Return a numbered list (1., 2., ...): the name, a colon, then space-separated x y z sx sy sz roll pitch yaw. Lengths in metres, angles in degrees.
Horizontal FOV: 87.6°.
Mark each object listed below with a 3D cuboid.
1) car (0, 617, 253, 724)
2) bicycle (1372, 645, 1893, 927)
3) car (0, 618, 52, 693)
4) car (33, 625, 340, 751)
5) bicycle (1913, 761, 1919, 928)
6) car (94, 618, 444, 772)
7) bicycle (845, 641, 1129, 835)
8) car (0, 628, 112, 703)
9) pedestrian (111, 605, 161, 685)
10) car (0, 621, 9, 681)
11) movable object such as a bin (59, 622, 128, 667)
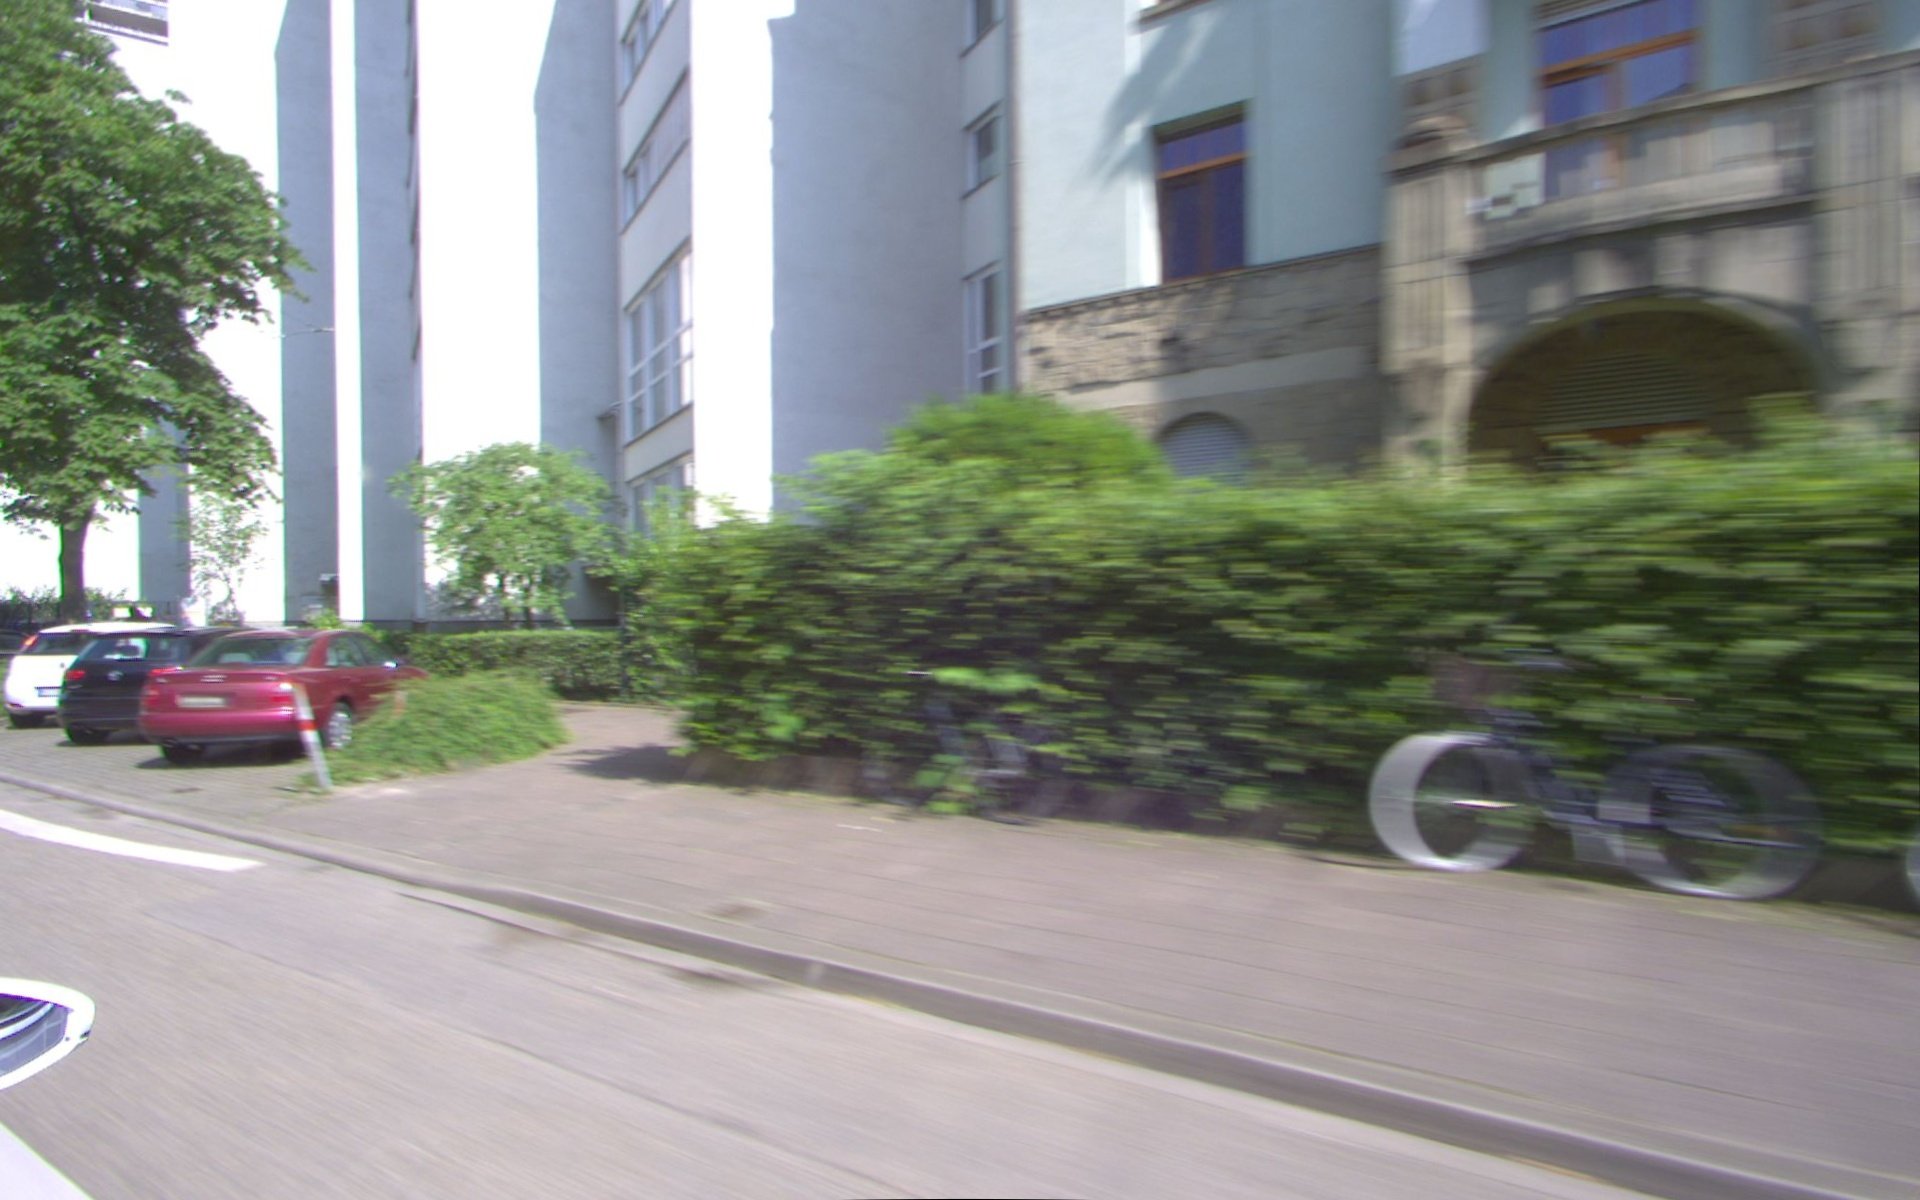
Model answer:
1. car: -13.039 1.024 15.907 1.507 1.480 3.996 0 -1 -13
2. bicycle: 3.041 0.791 4.740 1.982 1.124 0.278 -1 3 33
3. car: -21.293 1.146 20.654 1.869 1.594 4.000 1 -2 -9
4. car: -10.380 1.088 13.858 1.667 1.467 3.998 0 -1 -10
5. bicycle: 4.628 1.017 3.725 1.537 0.686 0.278 -1 3 33
6. car: -7.871 0.969 11.971 1.831 1.442 4.157 -1 0 -10
7. bicycle: 0.121 0.851 6.612 1.982 1.124 0.278 -1 3 33
8. car: -18.730 1.231 19.291 1.870 1.366 4.173 1 -2 -12
9. pedestrian: -19.927 1.078 24.212 0.990 1.898 0.758 0 0 38
10. car: -23.986 1.205 22.617 1.694 1.462 4.072 2 -1 -11
11. movable object such as a bin: -26.459 1.340 30.583 1.307 1.335 1.272 -1 -2 33
